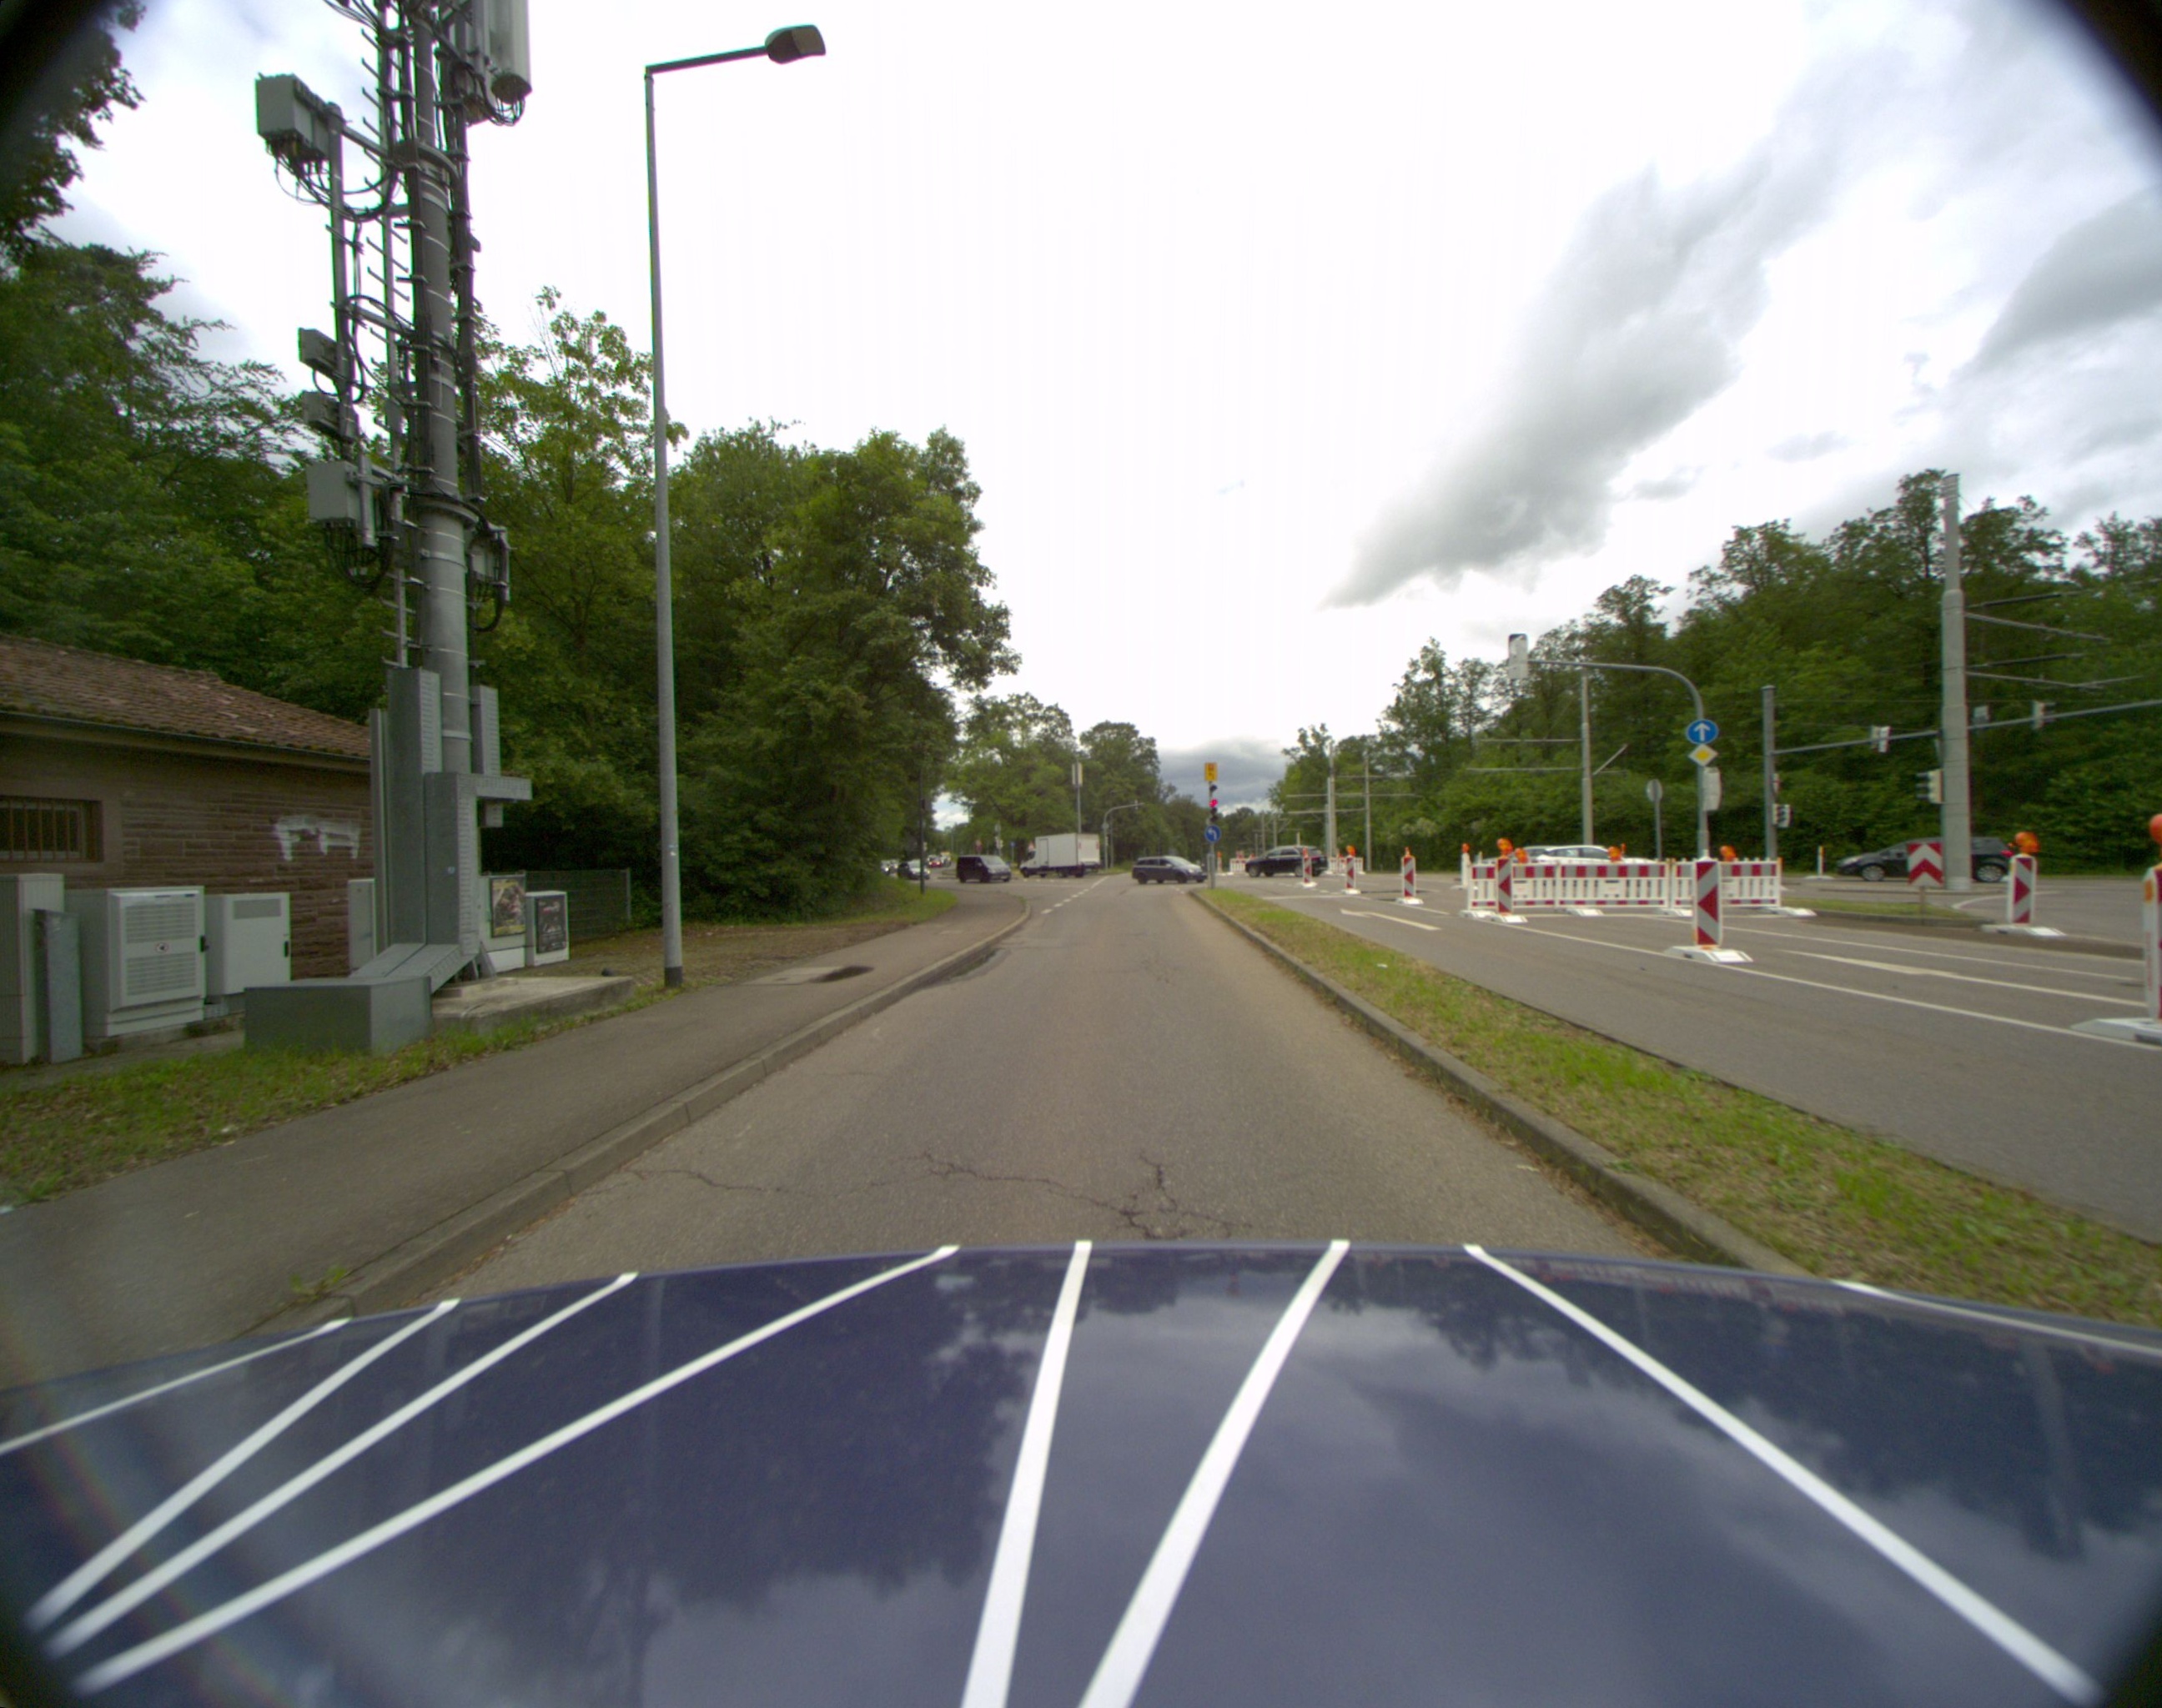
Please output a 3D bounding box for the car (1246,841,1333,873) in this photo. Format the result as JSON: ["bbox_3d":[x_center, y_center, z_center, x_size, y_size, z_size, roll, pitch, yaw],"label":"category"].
[{"bbox_3d":[12.135,0.211,44.401,4.460,1.718,2.004,-2,1,43],"label":"car"}]

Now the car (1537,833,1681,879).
[{"bbox_3d":[18.613,0.098,26.876,3.989,1.479,1.772,-2,1,42],"label":"car"}]

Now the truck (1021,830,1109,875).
[{"bbox_3d":[-1.312,-0.062,58.097,2.753,3.193,6.654,-3,1,-45],"label":"truck"}]

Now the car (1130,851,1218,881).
[{"bbox_3d":[4.884,0.650,40.391,4.378,1.428,1.800,-2,1,44],"label":"car"}]

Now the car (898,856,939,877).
[{"bbox_3d":[-13.398,1.004,62.568,1.901,1.631,3.973,-3,1,-33],"label":"car"}]

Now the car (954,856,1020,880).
[{"bbox_3d":[-6.696,1.001,53.501,1.961,1.578,4.896,-3,1,-45],"label":"car"}]

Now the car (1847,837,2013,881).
[{"bbox_3d":[29.920,0.184,26.940,1.666,1.330,3.831,-7,4,-44],"label":"car"}]

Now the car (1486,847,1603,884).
[{"bbox_3d":[21.555,0.564,35.426,4.439,1.586,1.884,-2,1,39],"label":"car"}]
